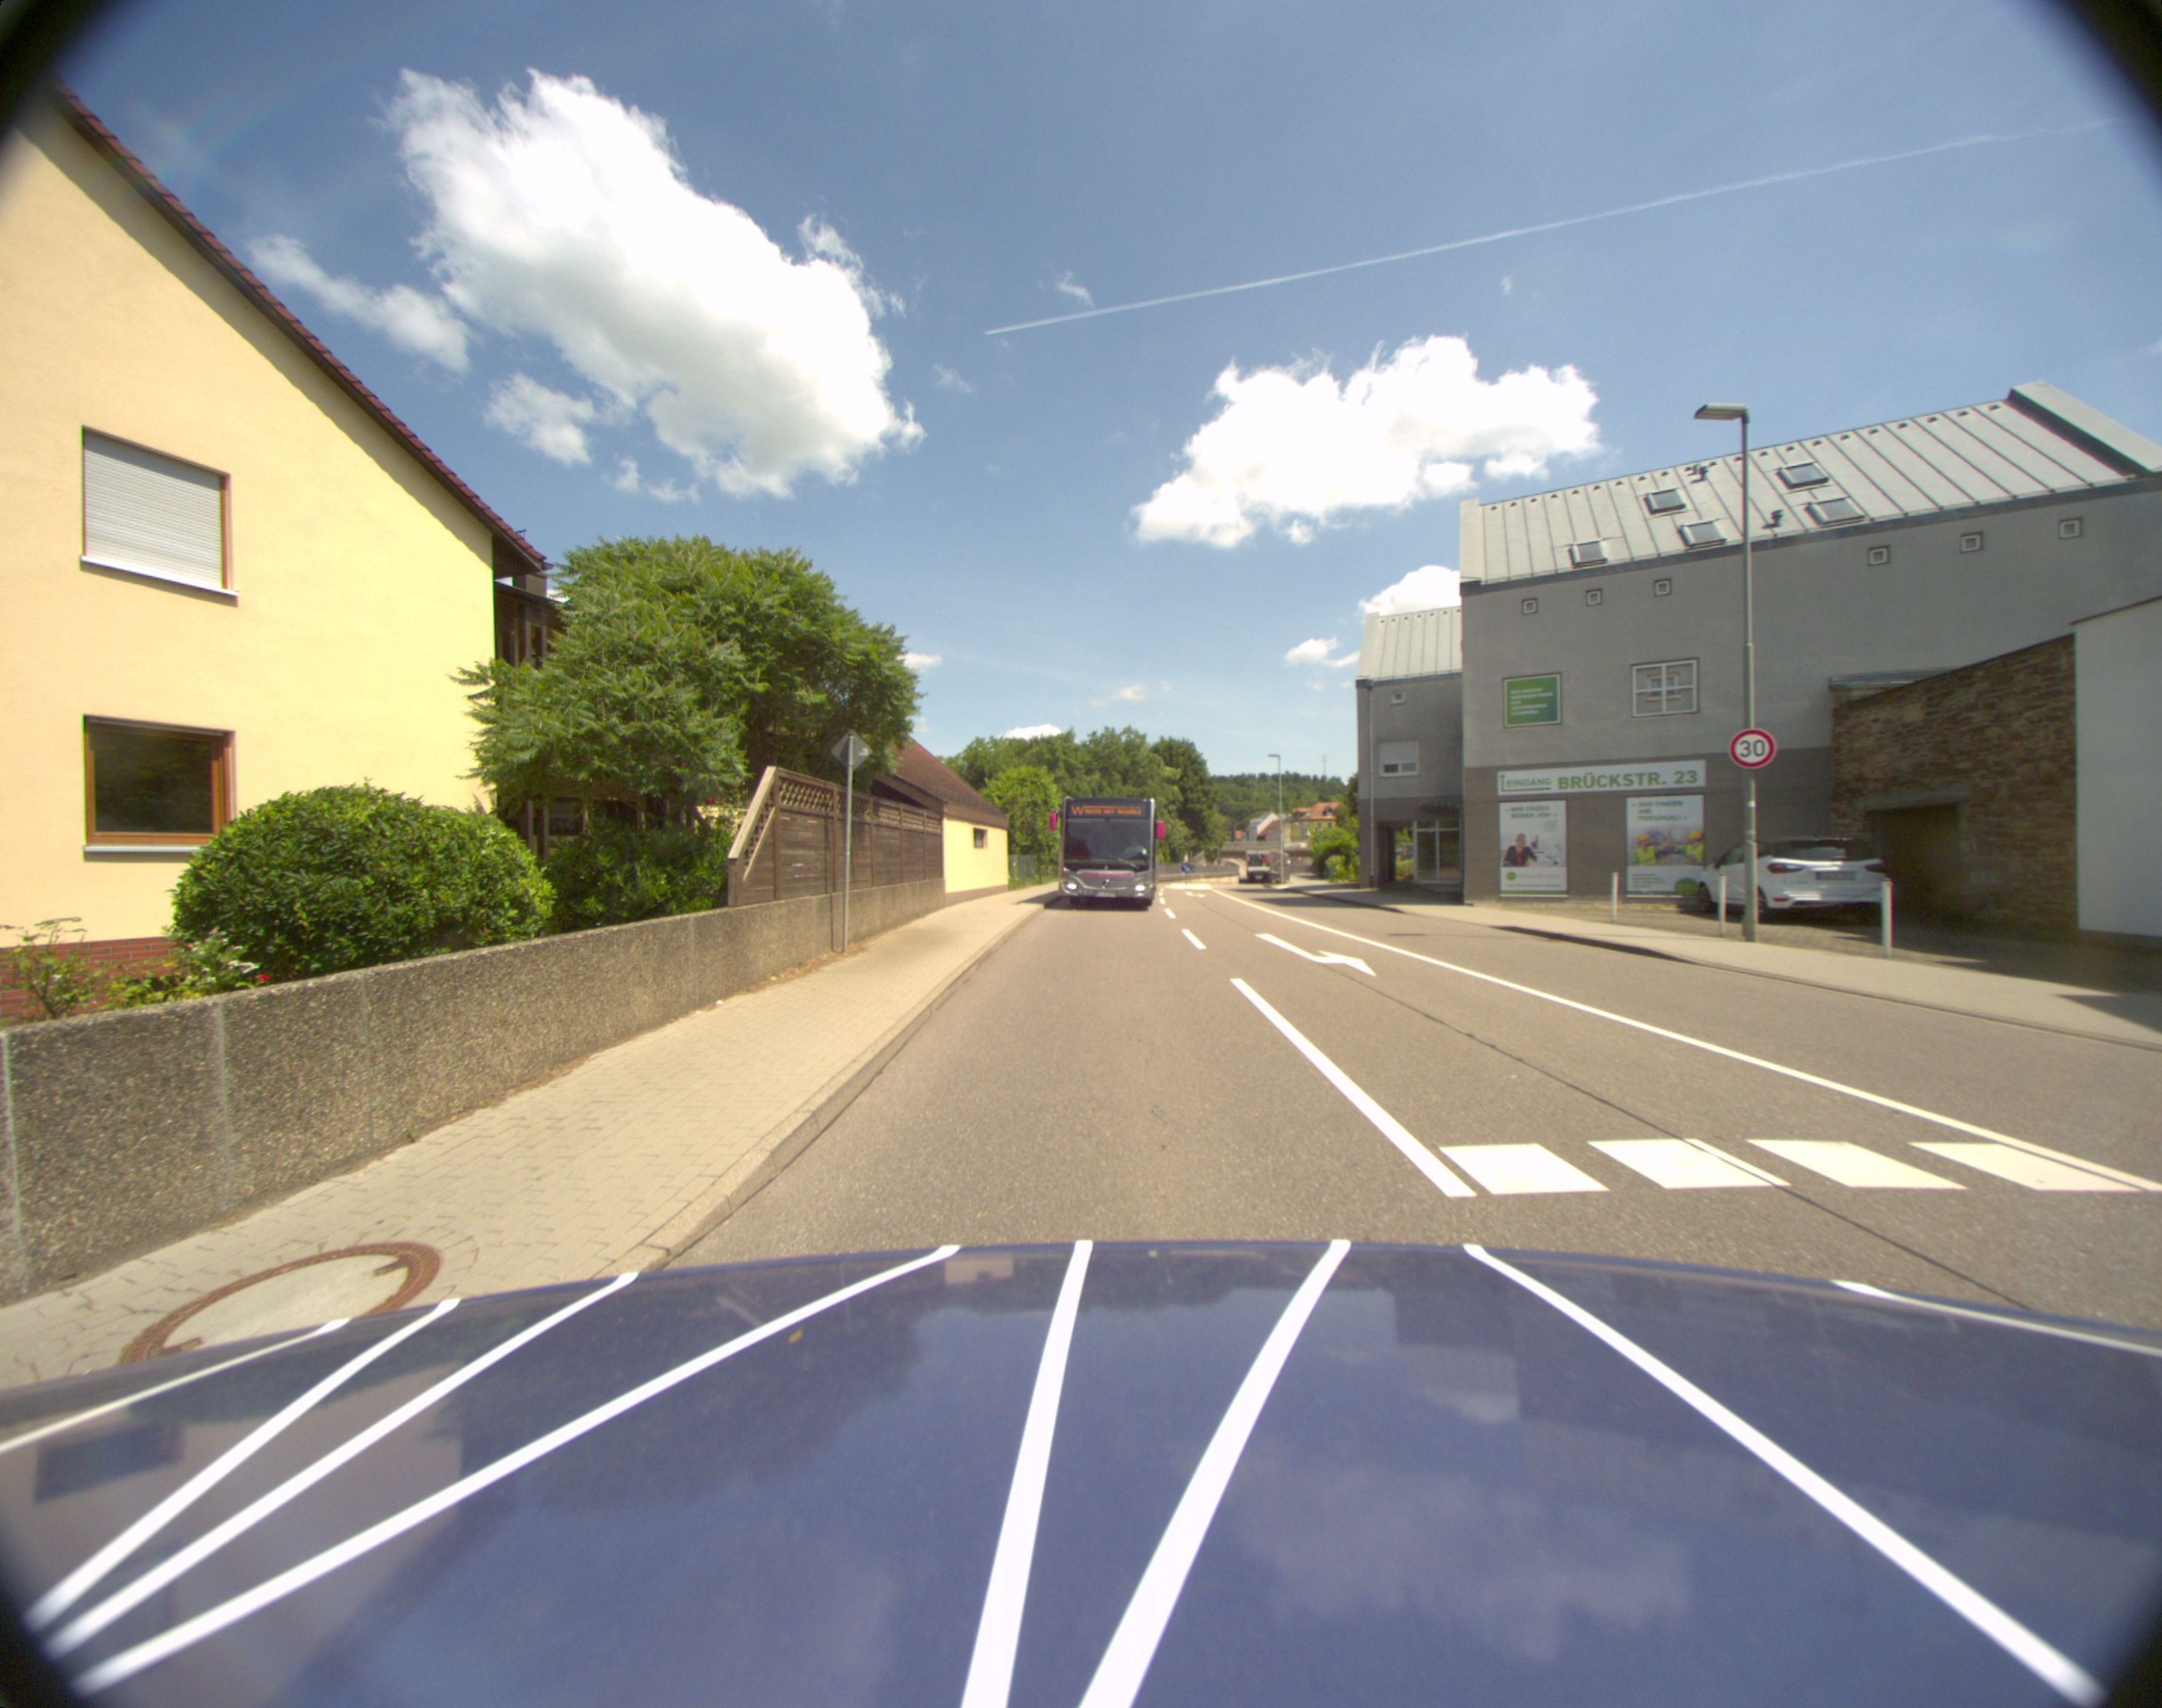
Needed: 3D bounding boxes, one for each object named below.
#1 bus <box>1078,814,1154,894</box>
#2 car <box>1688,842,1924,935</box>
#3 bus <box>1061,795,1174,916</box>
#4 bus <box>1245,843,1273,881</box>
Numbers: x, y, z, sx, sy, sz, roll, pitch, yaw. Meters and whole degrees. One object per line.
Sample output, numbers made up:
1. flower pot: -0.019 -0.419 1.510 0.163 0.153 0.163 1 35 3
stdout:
1. bus: 1.424 0.128 32.569 2.755 2.949 9.284 0 -2 2
2. car: 14.129 0.590 15.194 1.995 1.565 4.260 0 0 22
3. bus: 1.089 0.147 23.265 2.755 2.949 9.285 0 -2 2
4. bus: 19.903 0.969 84.620 2.814 3.977 10.982 -1 -2 14
